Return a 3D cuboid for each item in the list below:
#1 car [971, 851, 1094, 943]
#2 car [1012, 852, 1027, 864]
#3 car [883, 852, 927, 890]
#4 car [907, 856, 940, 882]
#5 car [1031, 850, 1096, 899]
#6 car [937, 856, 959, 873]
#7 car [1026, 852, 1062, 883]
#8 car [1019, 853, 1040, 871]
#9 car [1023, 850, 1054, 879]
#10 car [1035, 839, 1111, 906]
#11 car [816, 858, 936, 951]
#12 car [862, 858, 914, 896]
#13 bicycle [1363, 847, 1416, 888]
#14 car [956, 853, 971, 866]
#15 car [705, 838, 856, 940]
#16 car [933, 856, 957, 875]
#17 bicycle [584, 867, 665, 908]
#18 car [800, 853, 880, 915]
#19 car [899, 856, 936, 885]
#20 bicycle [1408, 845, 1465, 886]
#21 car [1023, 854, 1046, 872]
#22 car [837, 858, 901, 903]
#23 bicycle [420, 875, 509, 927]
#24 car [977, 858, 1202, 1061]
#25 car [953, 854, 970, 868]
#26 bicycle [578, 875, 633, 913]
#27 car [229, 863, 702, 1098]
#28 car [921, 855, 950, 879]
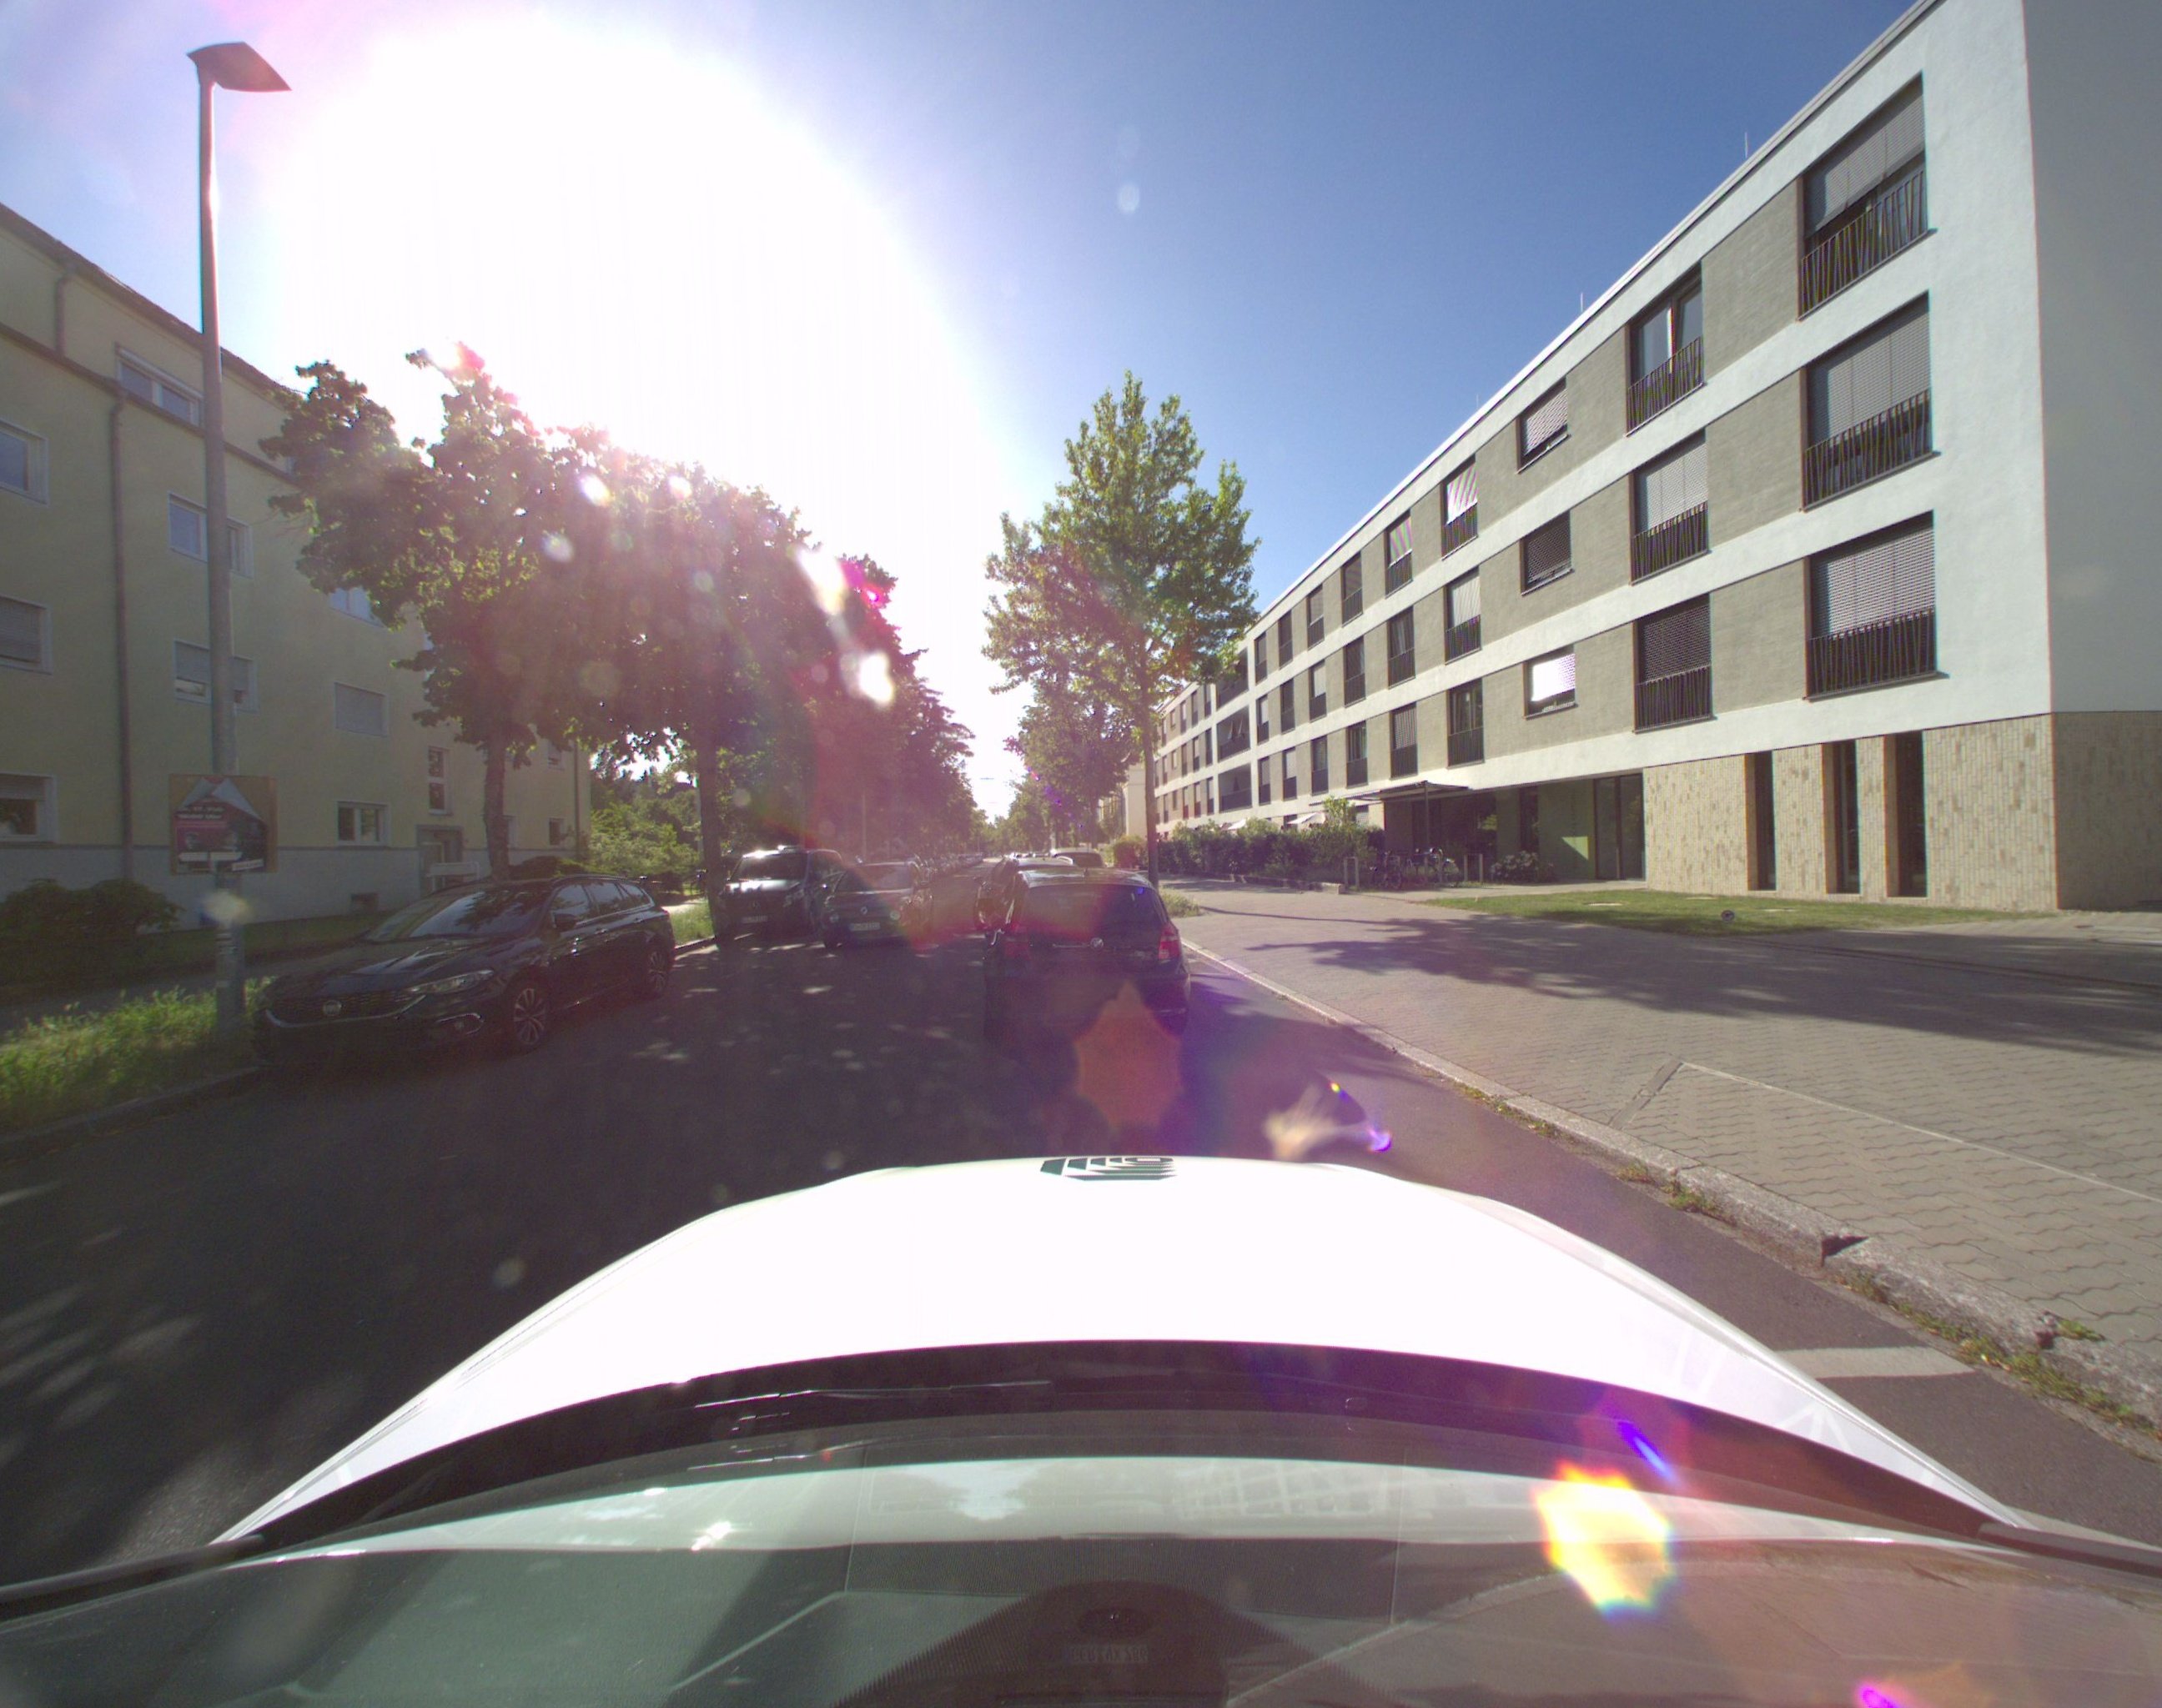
[{"bbox_3d":[-1.044,0.699,15.274,1.651,1.425,3.984,-2,0,-13],"label":"car"},{"bbox_3d":[-7.735,0.484,103.415,1.717,1.480,3.847,-3,0,-3],"label":"car"},{"bbox_3d":[-8.605,0.779,40.124,1.610,1.678,4.225,-3,0,-6],"label":"car"},{"bbox_3d":[-9.686,0.875,50.360,1.610,1.452,3.857,-3,0,-6],"label":"car"},{"bbox_3d":[-0.663,0.654,28.246,1.693,1.524,3.987,-1,0,-9],"label":"car"},{"bbox_3d":[-11.709,0.924,71.864,1.610,1.392,3.857,-3,0,-6],"label":"car"},{"bbox_3d":[-1.981,0.680,42.595,1.718,1.528,3.994,0,0,-5],"label":"car"},{"bbox_3d":[-4.325,0.650,68.354,1.718,1.480,3.845,0,0,-5],"label":"car"},{"bbox_3d":[-2.575,0.619,48.561,1.718,1.641,3.845,0,0,-5],"label":"car"},{"bbox_3d":[-0.321,0.479,22.641,1.844,1.631,4.404,-1,0,-4],"label":"car"},{"bbox_3d":[-3.655,0.836,15.007,1.502,1.426,3.174,-2,0,-3],"label":"car"},{"bbox_3d":[-8.168,0.933,34.709,1.610,1.427,3.717,-3,0,-6],"label":"car"},{"bbox_3d":[8.348,0.359,22.093,0.546,1.055,1.687,-3,0,-8],"label":"bicycle"},{"bbox_3d":[-13.858,0.591,96.089,1.610,1.392,3.857,-3,0,-6],"label":"car"},{"bbox_3d":[-6.648,0.683,18.675,1.823,1.904,5.133,-3,0,-5],"label":"car"},{"bbox_3d":[-11.118,0.938,66.637,1.610,1.392,3.857,-3,0,-6],"label":"car"},{"bbox_3d":[-14.827,1.077,26.497,2.150,1.208,0.686,-2,0,-17],"label":"bicycle"},{"bbox_3d":[-7.103,0.824,24.382,1.611,1.611,4.218,-3,0,-8],"label":"car"},{"bbox_3d":[-9.132,0.887,45.792,1.610,1.452,3.857,-3,0,-6],"label":"car"},{"bbox_3d":[9.697,0.309,22.281,0.546,1.055,1.775,-3,0,-8],"label":"bicycle"},{"bbox_3d":[-3.696,0.698,63.616,1.718,1.379,3.845,0,0,-5],"label":"car"},{"bbox_3d":[-7.629,0.916,29.654,1.610,1.427,4.049,-3,0,-6],"label":"car"},{"bbox_3d":[-13.406,0.987,17.786,0.594,0.991,1.924,-2,0,-5],"label":"bicycle"},{"bbox_3d":[-0.100,0.785,7.799,1.647,1.397,3.404,-2,0,-6],"label":"car"},{"bbox_3d":[-13.276,0.783,90.706,1.610,1.392,3.857,-3,0,-6],"label":"car"},{"bbox_3d":[-13.829,1.135,23.723,0.594,0.991,1.924,-2,0,-5],"label":"bicycle"},{"bbox_3d":[-5.593,0.941,8.346,1.505,1.548,4.768,-4,0,-6],"label":"car"},{"bbox_3d":[-10.186,0.881,57.245,1.610,1.543,3.857,-3,0,-6],"label":"car"}]
